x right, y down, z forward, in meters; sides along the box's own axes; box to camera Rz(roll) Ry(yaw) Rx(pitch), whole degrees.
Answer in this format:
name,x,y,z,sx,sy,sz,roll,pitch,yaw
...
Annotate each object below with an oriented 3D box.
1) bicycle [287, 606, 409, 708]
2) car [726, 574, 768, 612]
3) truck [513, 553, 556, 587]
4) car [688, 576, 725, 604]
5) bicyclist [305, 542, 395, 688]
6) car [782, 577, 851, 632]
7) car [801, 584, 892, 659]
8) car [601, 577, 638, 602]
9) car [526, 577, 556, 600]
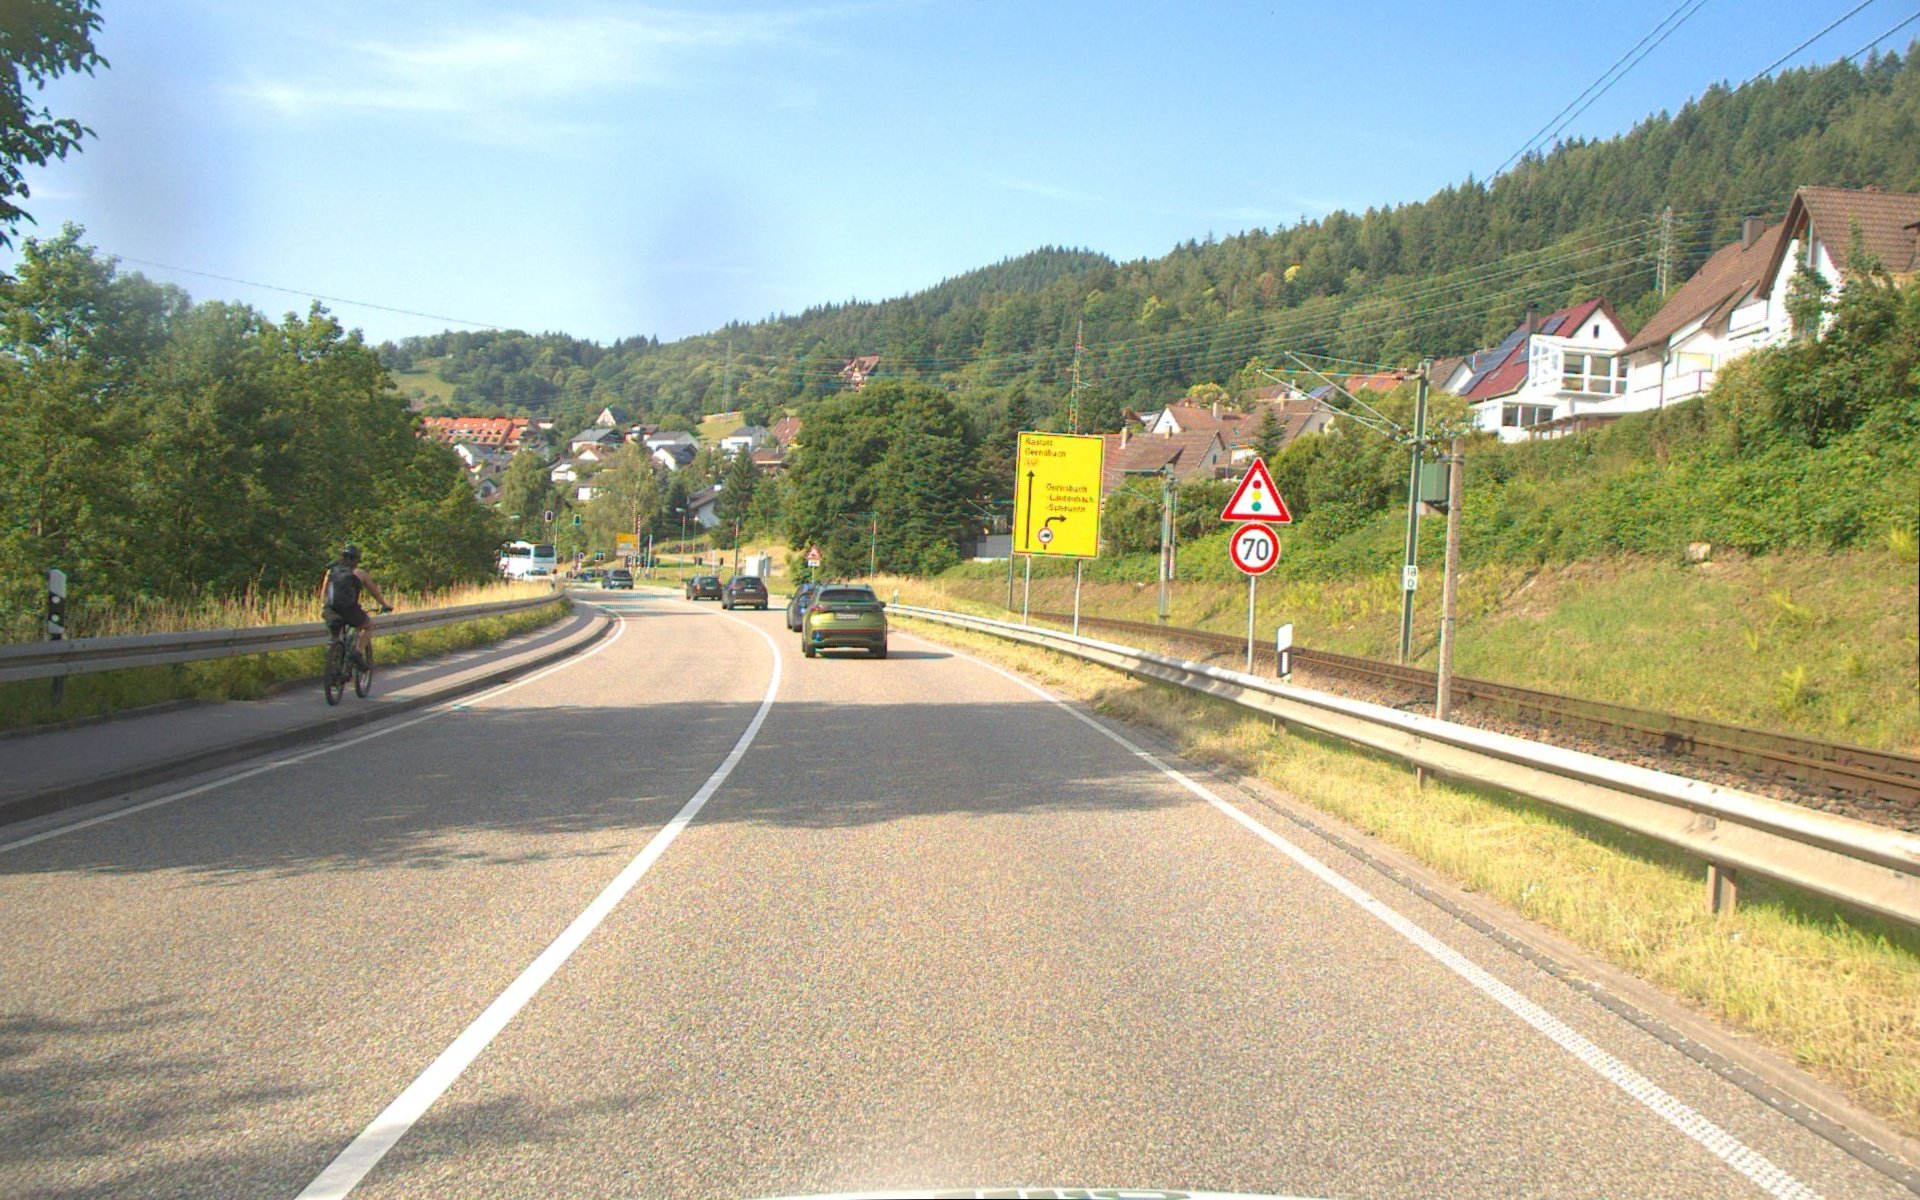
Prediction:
name,x,y,z,sx,sy,sz,roll,pitch,yaw
bicycle,-7.187,0.639,19.538,0.546,1.063,2.229,5,1,-1
car,-10.291,-0.364,79.603,1.845,1.716,3.992,2,0,-9
truck,-41.744,-2.930,162.167,2.682,3.137,6.050,1,2,-29
car,-15.203,-0.605,99.090,1.817,1.553,3.649,2,0,-14
bicyclist,-7.116,0.160,19.321,0.546,1.614,1.035,5,0,-1
car,-4.389,0.107,50.039,1.638,1.586,3.989,0,1,-12
car,-2.472,0.415,35.323,1.682,1.480,3.993,0,1,-8
car,-27.740,-0.814,134.827,2.036,1.843,3.970,5,-2,-24
car,-31.734,-0.897,125.192,1.962,1.658,3.981,1,0,-17
